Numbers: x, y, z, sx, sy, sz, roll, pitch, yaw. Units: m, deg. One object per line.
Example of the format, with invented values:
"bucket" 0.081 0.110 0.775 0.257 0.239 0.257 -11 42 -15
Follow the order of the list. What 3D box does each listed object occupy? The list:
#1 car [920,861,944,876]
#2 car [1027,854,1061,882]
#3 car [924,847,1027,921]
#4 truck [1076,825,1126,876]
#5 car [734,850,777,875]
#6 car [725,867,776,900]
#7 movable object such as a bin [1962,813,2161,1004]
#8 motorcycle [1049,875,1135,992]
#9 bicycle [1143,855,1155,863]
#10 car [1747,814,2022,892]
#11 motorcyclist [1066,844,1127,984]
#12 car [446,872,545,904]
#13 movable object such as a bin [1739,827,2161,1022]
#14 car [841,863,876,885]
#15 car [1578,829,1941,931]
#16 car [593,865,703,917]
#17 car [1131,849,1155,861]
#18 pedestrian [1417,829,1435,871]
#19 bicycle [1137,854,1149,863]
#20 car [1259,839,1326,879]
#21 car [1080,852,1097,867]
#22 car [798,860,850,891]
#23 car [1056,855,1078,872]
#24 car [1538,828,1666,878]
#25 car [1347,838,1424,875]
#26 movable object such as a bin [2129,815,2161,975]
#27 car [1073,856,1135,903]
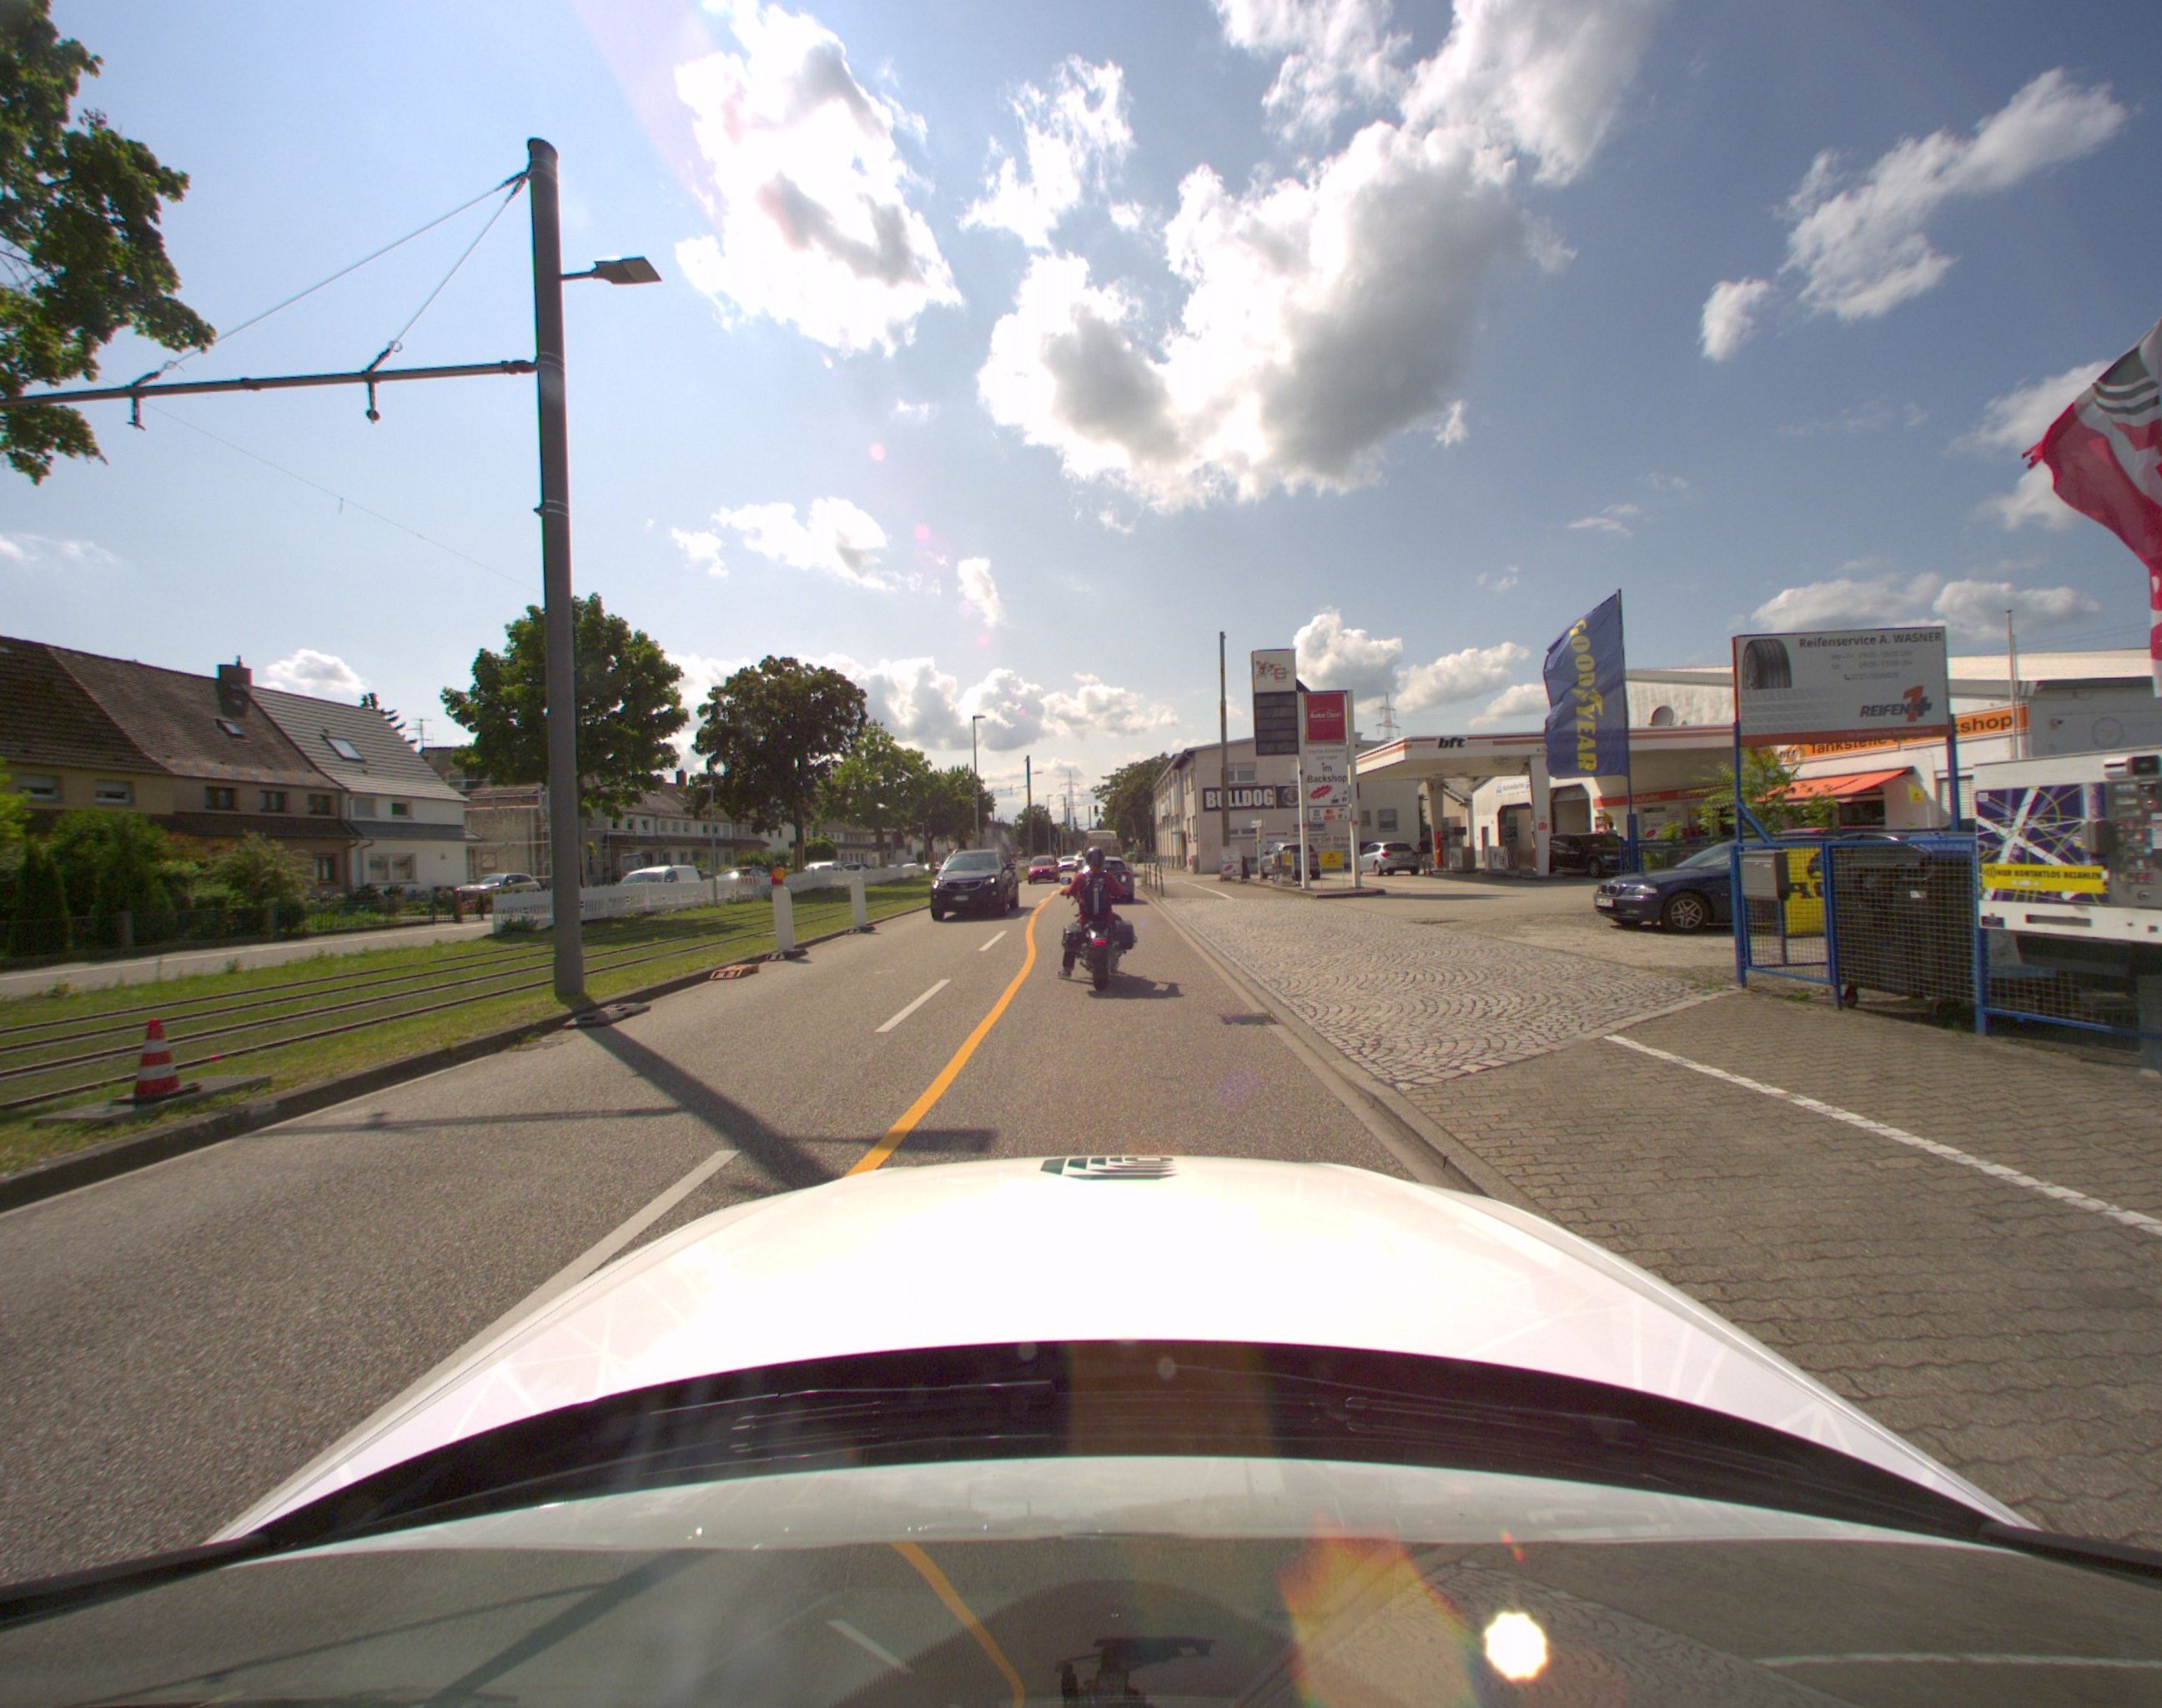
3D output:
"car" -13.930 1.385 76.199 1.516 1.354 3.622 0 -1 2
"car" -2.031 0.766 45.586 1.572 1.469 3.721 0 -1 2
"car" -2.654 0.708 21.441 1.788 1.690 4.226 -3 0 4
"truck" 1.467 -0.197 54.670 2.954 3.173 7.773 0 -1 4
"car" -27.895 0.730 69.970 1.986 2.014 4.001 0 -1 1
"car" -15.034 1.318 37.164 1.067 1.348 2.452 -3 -1 5
"movable object such as a bin" 8.751 0.406 6.498 1.526 1.410 1.765 0 -1 1
"motorcycle" 0.161 0.900 10.136 0.939 1.200 2.473 0 0 2
"bicycle" 9.748 0.691 116.129 1.699 1.172 0.439 0 -1 6
"car" 17.437 -0.014 17.838 4.118 1.424 1.772 -3 -1 2
"motorcyclist" 0.188 0.691 9.677 0.695 1.604 0.692 0 -1 1
"car" -27.226 1.562 38.040 1.528 1.275 4.122 -3 -1 2
"movable object such as a bin" 6.957 0.499 6.543 1.956 1.347 1.708 0 -1 0
"car" -14.932 1.330 54.680 1.345 1.377 3.115 -3 -1 2
"car" 10.163 0.388 12.466 4.032 1.408 1.650 -1 0 6
"car" -15.435 1.262 29.256 1.647 1.626 4.002 -3 -1 2
"car" 10.314 0.168 135.785 4.022 1.926 1.781 0 -1 -43
"pedestrian" 14.661 -0.173 34.585 0.495 1.776 0.577 0 -1 -1
"bicycle" 8.916 0.658 116.792 1.699 1.172 0.439 0 -1 6
"car" 9.213 0.201 35.880 1.937 1.625 4.619 -1 0 3
"car" 0.952 0.636 97.431 1.818 1.666 4.463 -3 -1 1
"car" -15.015 1.234 47.789 1.616 1.651 3.900 -3 -1 2
"car" -1.291 0.923 75.765 1.815 1.445 4.484 -3 -1 1
"car" 17.964 -0.080 28.366 1.676 1.519 4.495 -3 1 2
"car" 13.517 0.140 36.411 1.687 1.471 4.421 -3 -1 -1
"movable object such as a bin" 10.294 0.352 6.523 1.526 1.410 1.765 0 -1 1
"car" 0.683 0.779 26.533 1.727 1.403 4.082 0 0 -3
